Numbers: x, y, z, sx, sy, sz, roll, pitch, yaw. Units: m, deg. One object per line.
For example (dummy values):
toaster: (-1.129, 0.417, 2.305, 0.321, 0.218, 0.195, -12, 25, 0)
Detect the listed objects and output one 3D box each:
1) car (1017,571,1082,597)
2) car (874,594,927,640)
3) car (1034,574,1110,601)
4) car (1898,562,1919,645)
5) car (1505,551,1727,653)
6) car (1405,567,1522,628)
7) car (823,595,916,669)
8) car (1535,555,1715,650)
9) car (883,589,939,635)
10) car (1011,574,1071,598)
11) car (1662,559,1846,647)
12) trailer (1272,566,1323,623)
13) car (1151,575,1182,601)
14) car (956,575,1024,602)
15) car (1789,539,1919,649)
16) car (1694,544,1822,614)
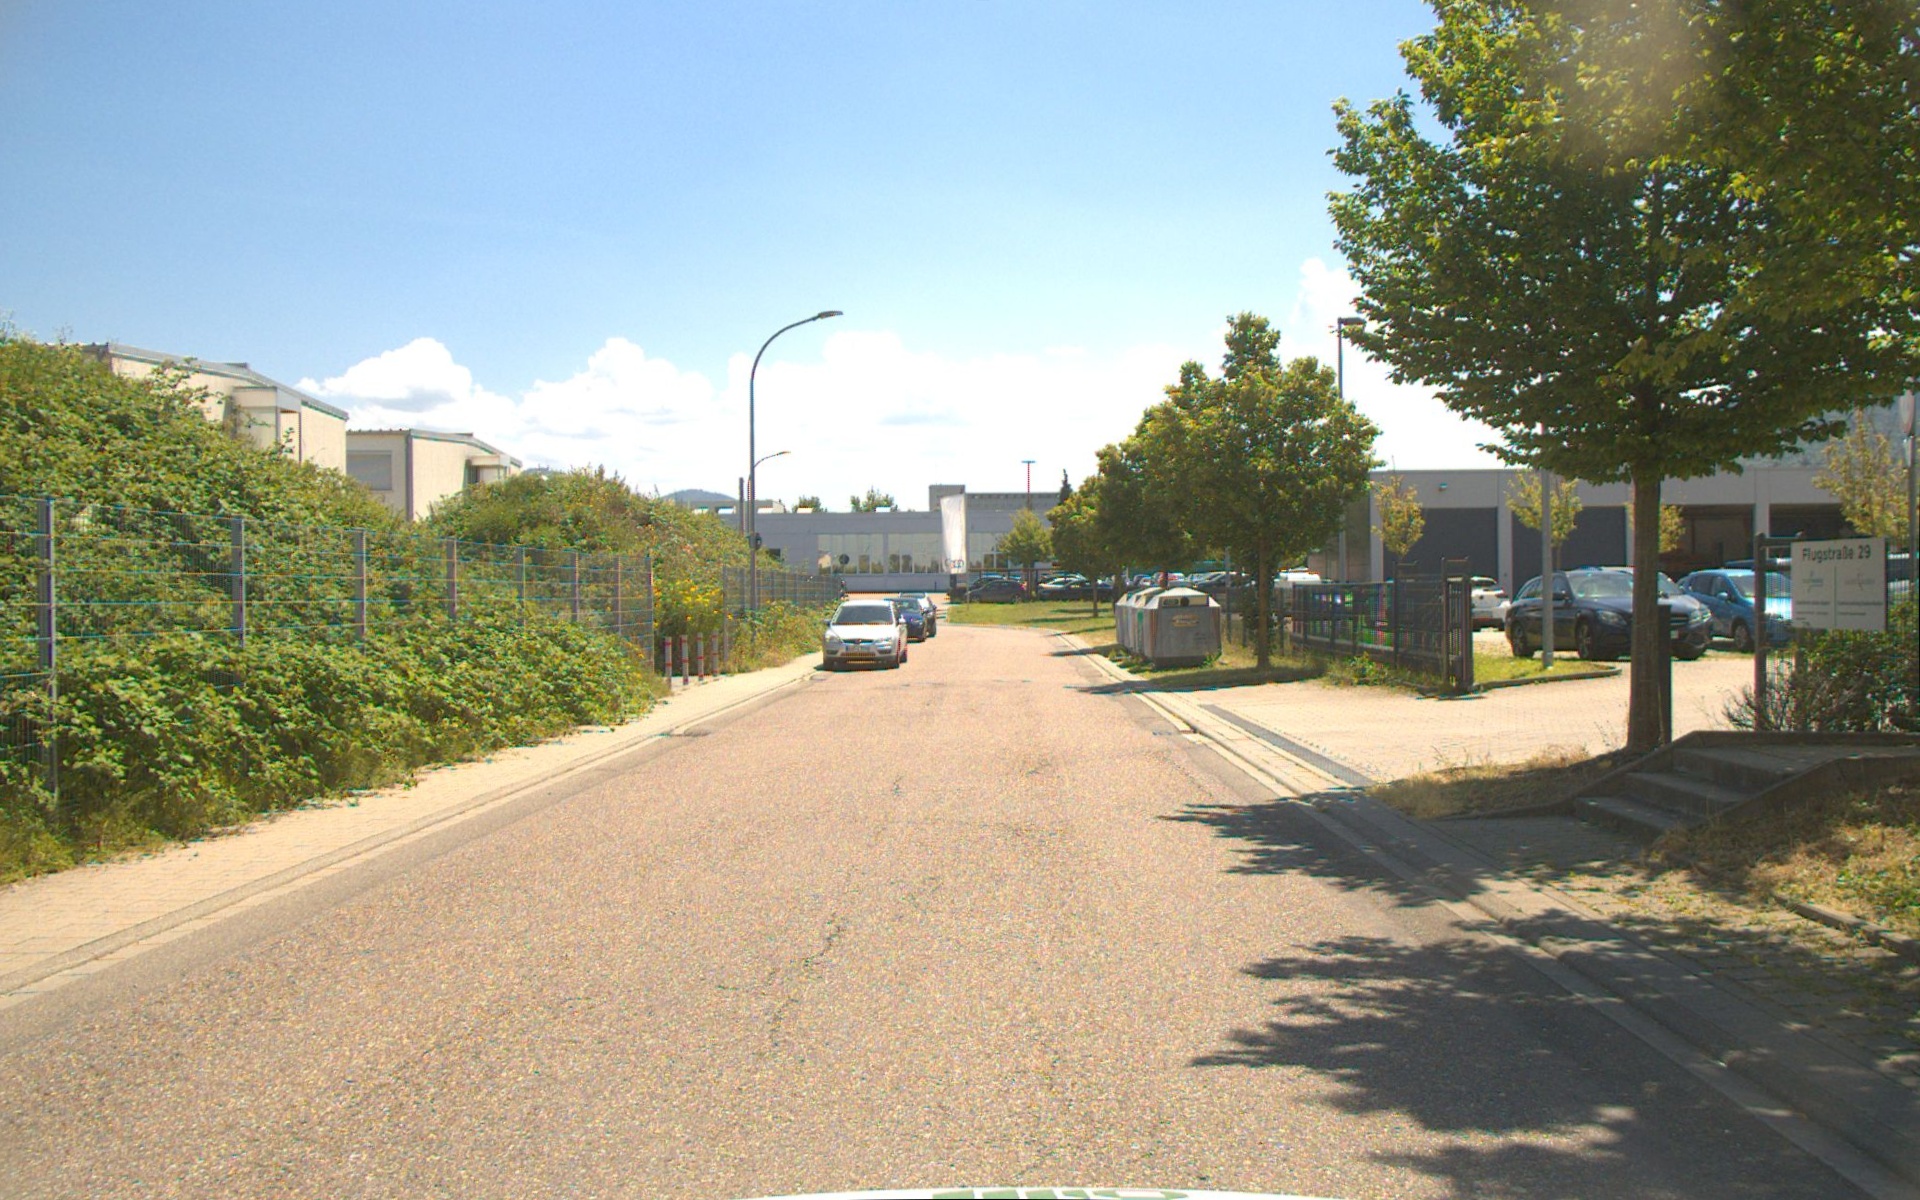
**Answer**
car: (5.564, -1.003, 102.928, 3.906, 1.423, 1.999, -2, -2, -1)
car: (-1.982, 0.549, 55.696, 1.622, 1.442, 4.145, -2, 0, -1)
car: (6.614, -0.709, 97.809, 4.347, 1.423, 1.999, -2, -2, -1)
car: (17.873, -0.009, 27.498, 1.802, 1.458, 4.649, -1, -2, -1)
car: (10.525, 0.081, 26.896, 1.753, 1.480, 4.408, -1, -2, -1)
car: (13.246, -0.036, 43.747, 1.753, 1.458, 4.141, -1, -2, -1)
car: (-2.055, 0.705, 38.796, 1.796, 1.573, 4.368, -2, 0, 1)
car: (12.931, -0.016, 32.450, 1.753, 1.651, 4.242, -1, 2, -1)
car: (-1.761, 0.413, 61.122, 1.796, 1.573, 4.265, -2, 0, 1)
car: (5.459, -0.919, 111.715, 3.906, 1.423, 1.999, -2, -2, -1)
car: (15.486, 0.003, 32.469, 1.612, 1.517, 4.023, -1, 2, -1)
trailer: (13.284, -0.237, 65.183, 1.462, 2.041, 3.266, -2, 3, 3)
car: (16.182, -0.888, 129.760, 1.952, 1.859, 4.000, -2, -2, 1)
car: (1.759, -0.694, 97.966, 3.906, 1.423, 1.999, -2, -2, -1)
car: (15.658, -0.073, 27.000, 1.802, 1.682, 4.649, -1, -2, -1)
car: (29.804, -0.731, 62.031, 1.842, 2.303, 5.654, -2, -2, -2)
